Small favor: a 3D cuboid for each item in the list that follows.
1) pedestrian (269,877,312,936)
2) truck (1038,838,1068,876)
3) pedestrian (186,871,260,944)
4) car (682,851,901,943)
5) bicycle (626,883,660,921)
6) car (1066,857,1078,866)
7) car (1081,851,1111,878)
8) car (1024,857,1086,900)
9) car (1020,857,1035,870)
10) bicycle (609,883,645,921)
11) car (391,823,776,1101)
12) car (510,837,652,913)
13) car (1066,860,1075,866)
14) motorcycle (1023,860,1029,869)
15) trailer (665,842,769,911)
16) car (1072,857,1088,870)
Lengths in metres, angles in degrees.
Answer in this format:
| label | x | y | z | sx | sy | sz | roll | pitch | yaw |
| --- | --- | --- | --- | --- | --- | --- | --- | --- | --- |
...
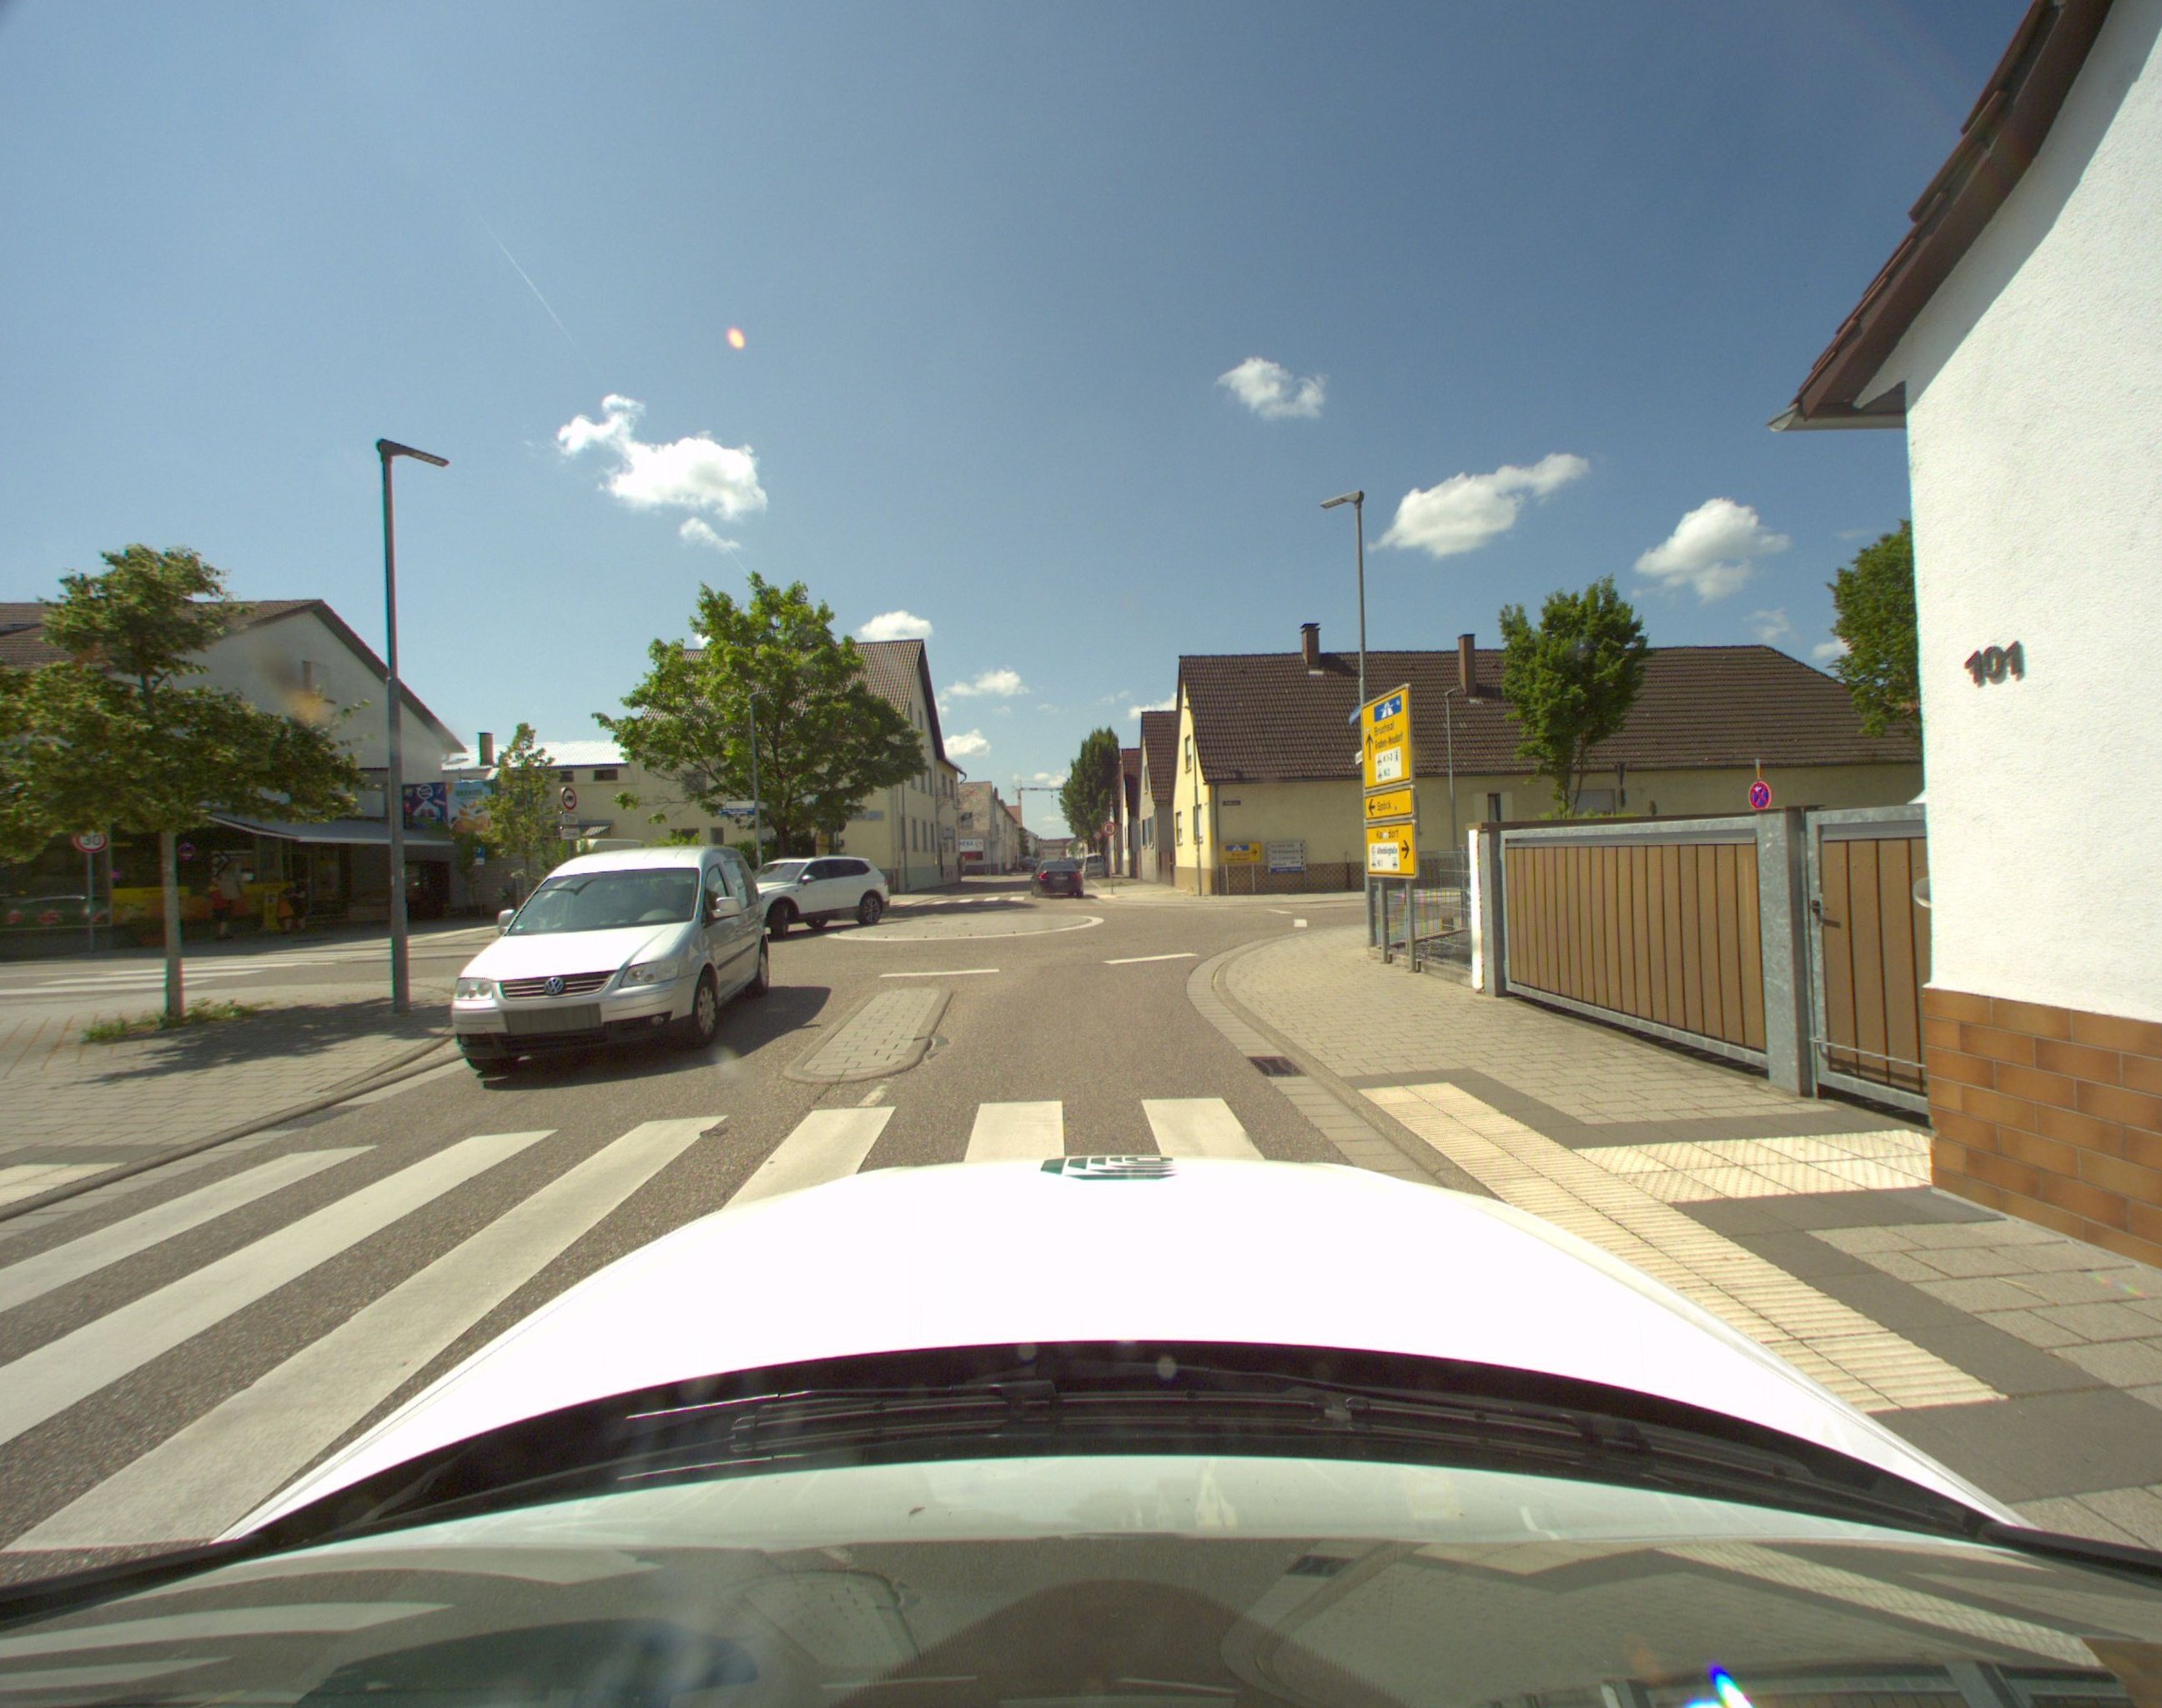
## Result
| label | x | y | z | sx | sy | sz | roll | pitch | yaw |
| --- | --- | --- | --- | --- | --- | --- | --- | --- | --- |
| pedestrian | -22.252 | 1.453 | 22.917 | 0.869 | 1.589 | 0.755 | -1 | 1 | 41 |
| truck | -3.169 | 0.399 | 95.028 | 3.135 | 4.250 | 9.299 | 0 | -1 | 0 |
| pedestrian | -22.729 | 1.395 | 21.598 | 0.779 | 1.825 | 1.022 | -2 | 1 | -3 |
| car | -6.215 | 0.846 | 18.116 | 1.849 | 1.710 | 4.569 | -2 | 0 | 25 |
| bicycle | -13.597 | 1.468 | 25.324 | 0.400 | 1.003 | 1.973 | -2 | 2 | -13 |
| car | -1.427 | 1.130 | 123.778 | 1.715 | 1.355 | 4.154 | -2 | 0 | -1 |
| car | 1.052 | 0.724 | 58.476 | 1.716 | 1.790 | 4.139 | -4 | 0 | -3 |
| car | -1.119 | 0.922 | 32.466 | 1.902 | 1.563 | 4.462 | -2 | 0 | -9 |
| car | -7.182 | 1.243 | 109.448 | 1.805 | 1.589 | 3.996 | -2 | 0 | -2 |
| bicycle | -14.029 | 1.470 | 25.192 | 0.400 | 1.003 | 1.973 | -2 | 2 | -13 |
| car | -4.303 | 0.763 | 7.960 | 1.774 | 1.821 | 4.422 | -4 | 0 | -13 |
| car | -18.666 | 0.724 | 30.803 | 1.931 | 2.567 | 5.644 | -1 | 0 | -1 |
| car | -2.218 | 1.938 | 172.642 | 1.715 | 1.269 | 4.154 | -2 | 0 | -1 |
| motorcycle | -7.128 | 1.409 | 105.587 | 0.844 | 1.170 | 2.466 | 0 | -1 | -3 |
| trailer | -13.454 | 0.779 | 30.395 | 1.873 | 2.335 | 4.521 | -1 | 0 | -1 |
| car | -0.105 | 1.054 | 95.360 | 1.714 | 1.461 | 4.156 | -2 | 0 | 0 |
